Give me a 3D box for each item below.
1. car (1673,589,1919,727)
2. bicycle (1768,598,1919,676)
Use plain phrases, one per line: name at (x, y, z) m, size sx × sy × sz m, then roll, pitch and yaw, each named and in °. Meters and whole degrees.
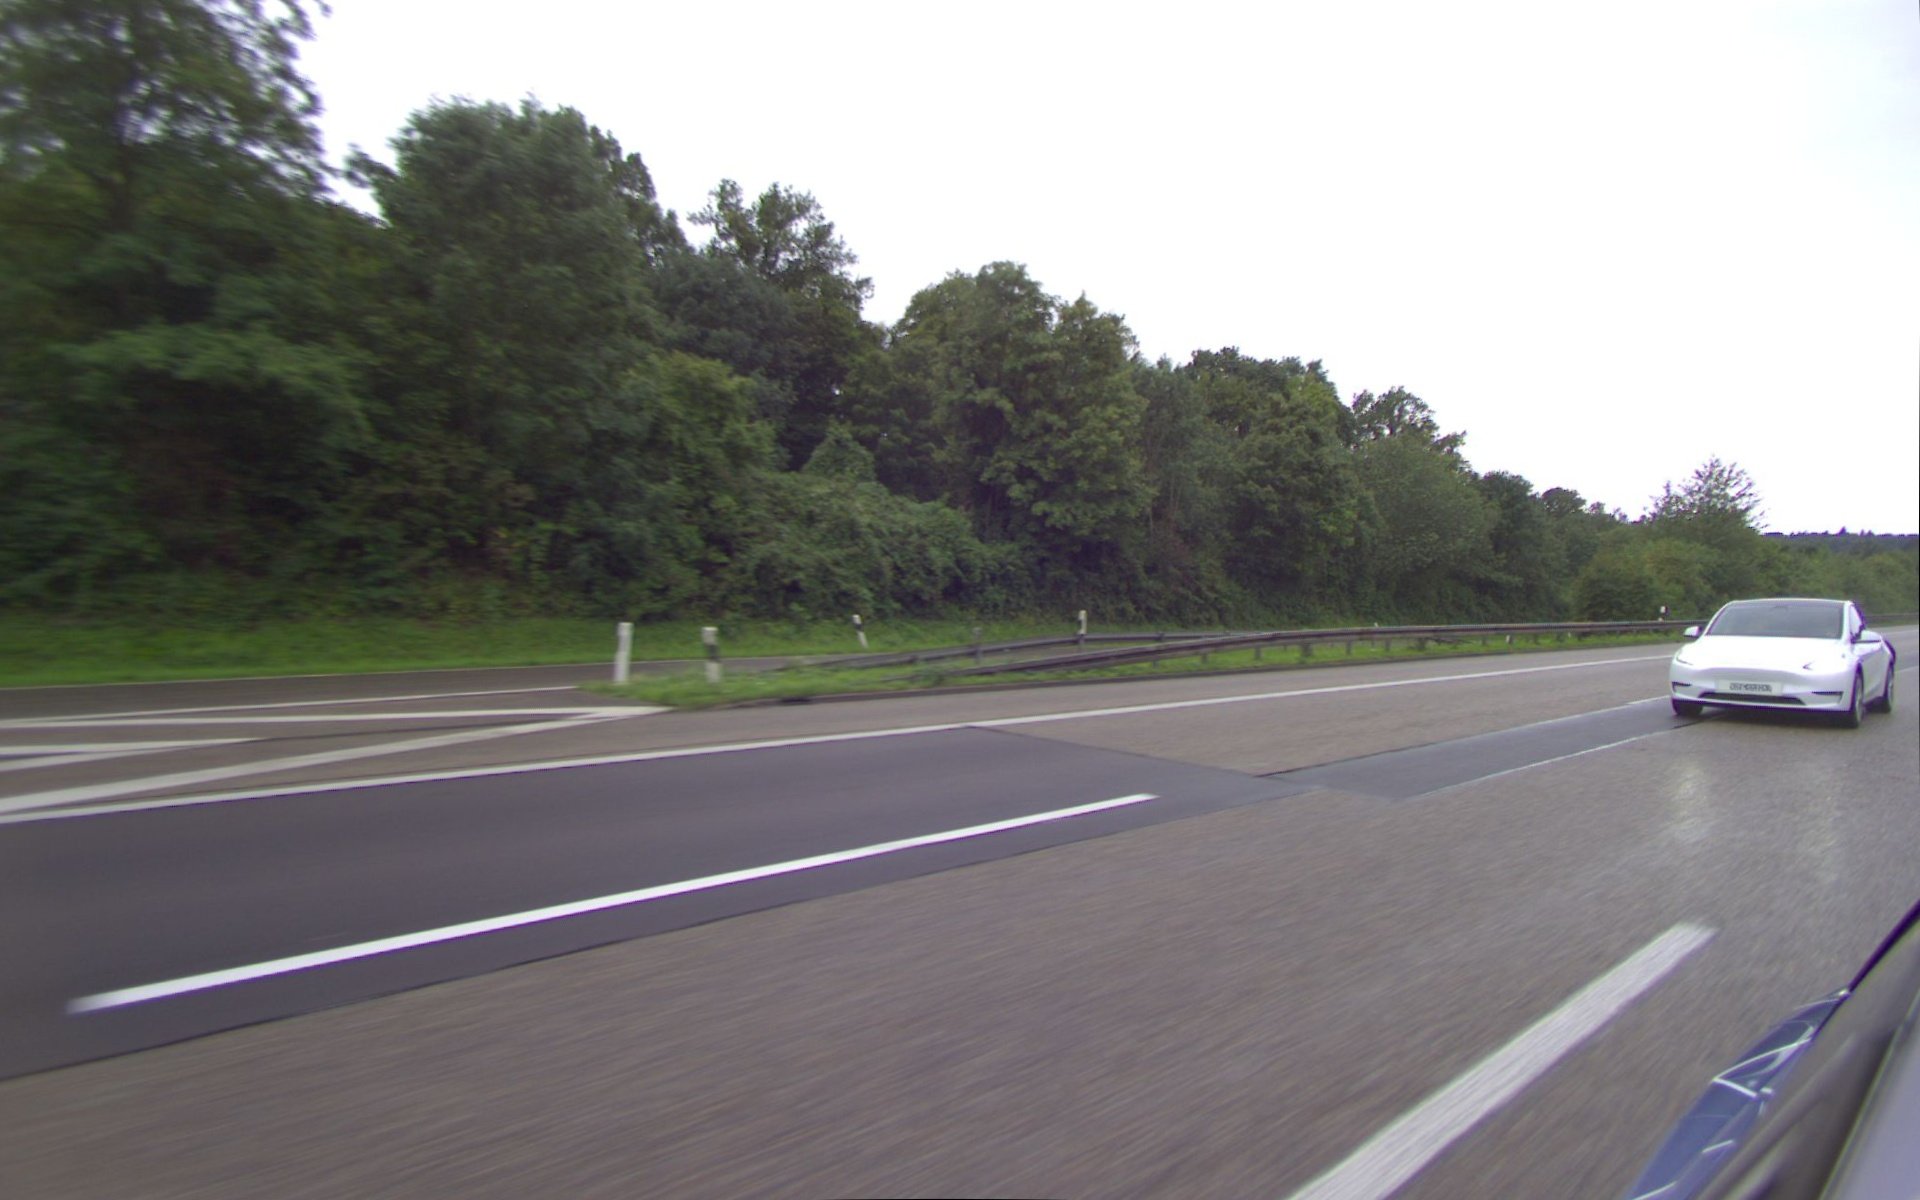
car at (11.685, 0.648, 14.003) m, size 4.877 × 1.588 × 1.863 m, roll 0°, pitch 0°, yaw -41°
bicycle at (13.889, 0.545, 15.881) m, size 0.897 × 1.104 × 1.757 m, roll -2°, pitch 2°, yaw -39°
